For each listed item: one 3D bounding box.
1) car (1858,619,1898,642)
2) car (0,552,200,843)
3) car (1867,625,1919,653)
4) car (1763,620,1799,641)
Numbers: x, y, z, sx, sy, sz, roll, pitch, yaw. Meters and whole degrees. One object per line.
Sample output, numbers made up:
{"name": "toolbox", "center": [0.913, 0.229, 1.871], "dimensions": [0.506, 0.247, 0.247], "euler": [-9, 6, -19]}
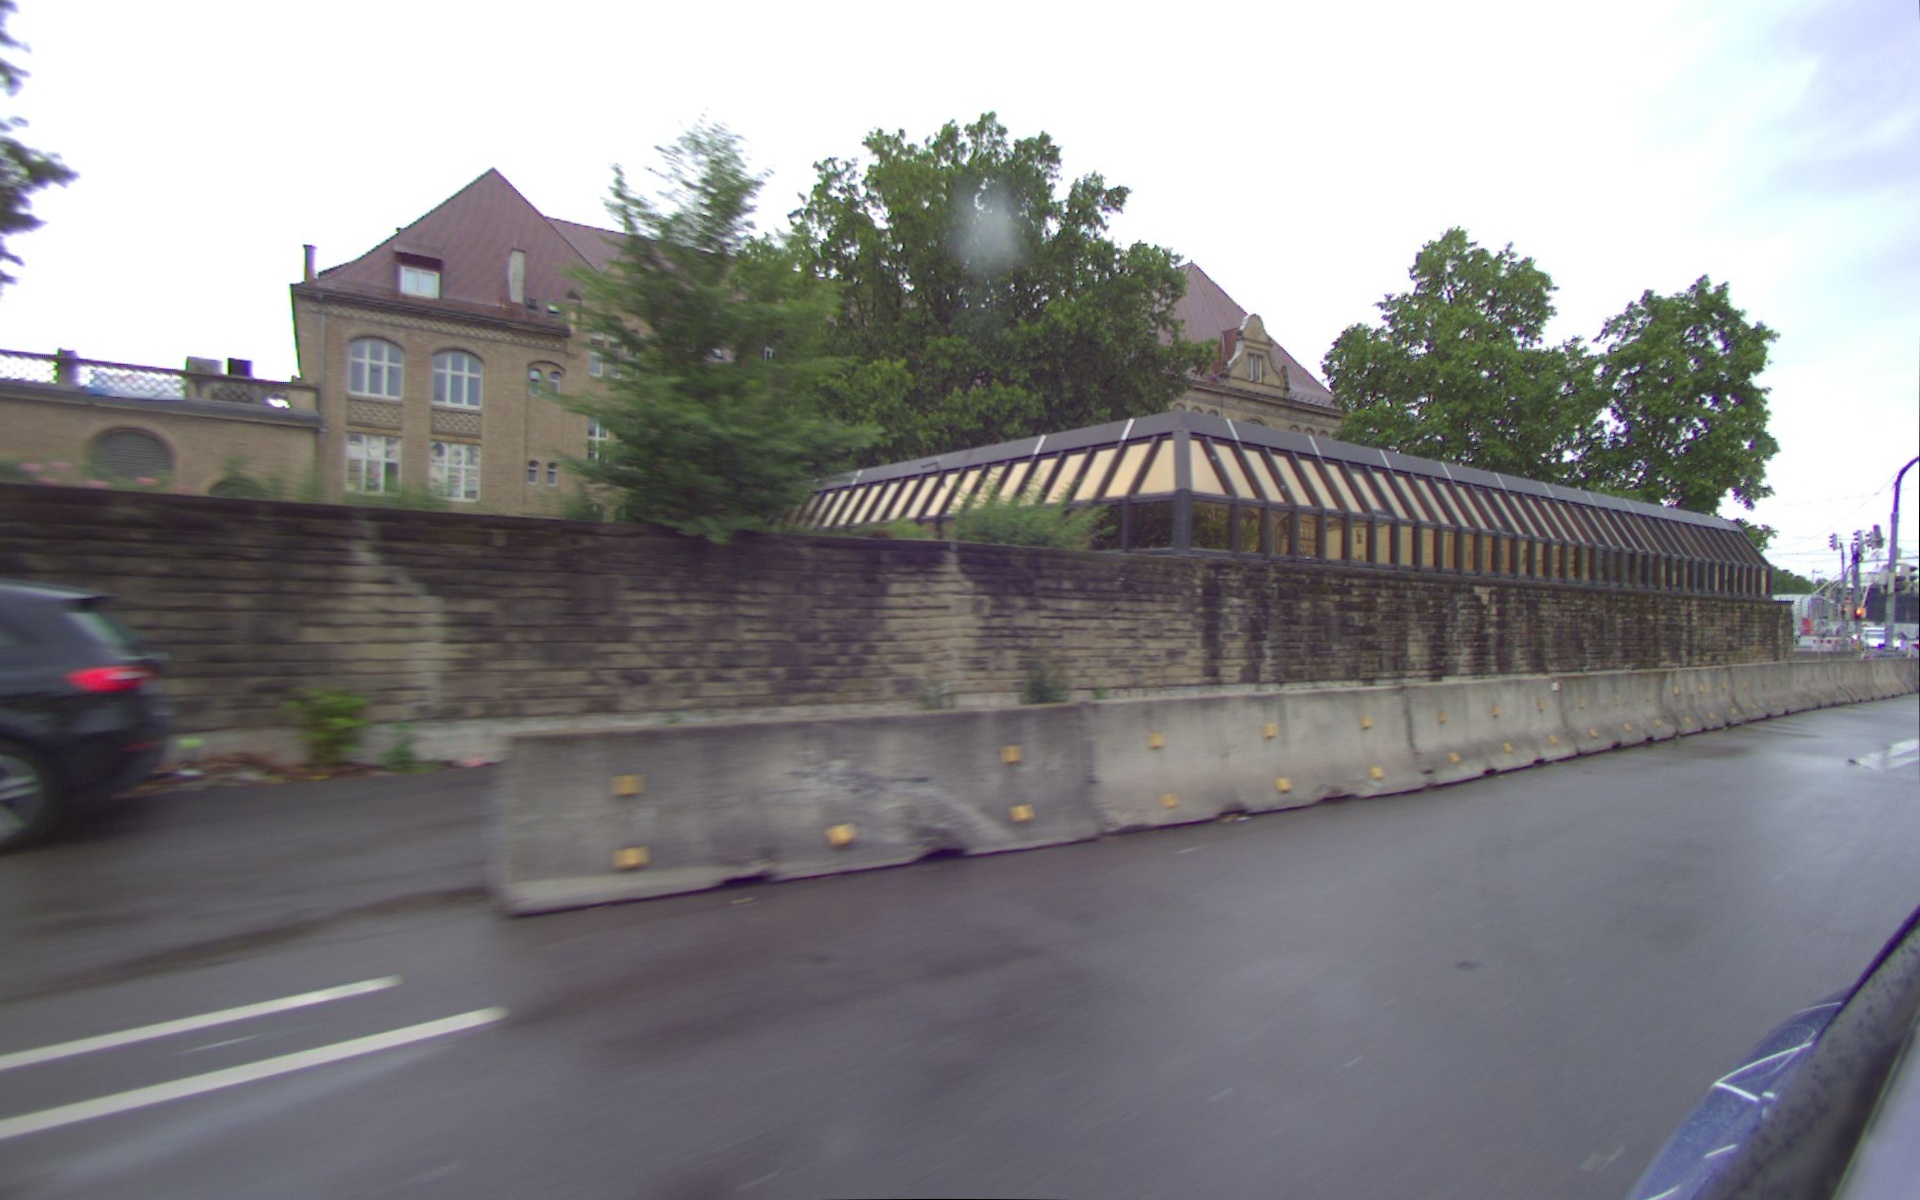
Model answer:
{"name": "car", "center": [74.652, 2.462, 82.335], "dimensions": [1.988, 1.795, 4.297], "euler": [-2, -2, 37]}
{"name": "car", "center": [-6.820, 0.499, 5.445], "dimensions": [4.241, 1.571, 1.812], "euler": [0, 2, -33]}
{"name": "car", "center": [71.040, 2.963, 77.075], "dimensions": [1.983, 2.040, 4.374], "euler": [-1, -2, 30]}
{"name": "car", "center": [71.828, 2.674, 88.486], "dimensions": [1.994, 1.795, 4.286], "euler": [-2, -3, 45]}
